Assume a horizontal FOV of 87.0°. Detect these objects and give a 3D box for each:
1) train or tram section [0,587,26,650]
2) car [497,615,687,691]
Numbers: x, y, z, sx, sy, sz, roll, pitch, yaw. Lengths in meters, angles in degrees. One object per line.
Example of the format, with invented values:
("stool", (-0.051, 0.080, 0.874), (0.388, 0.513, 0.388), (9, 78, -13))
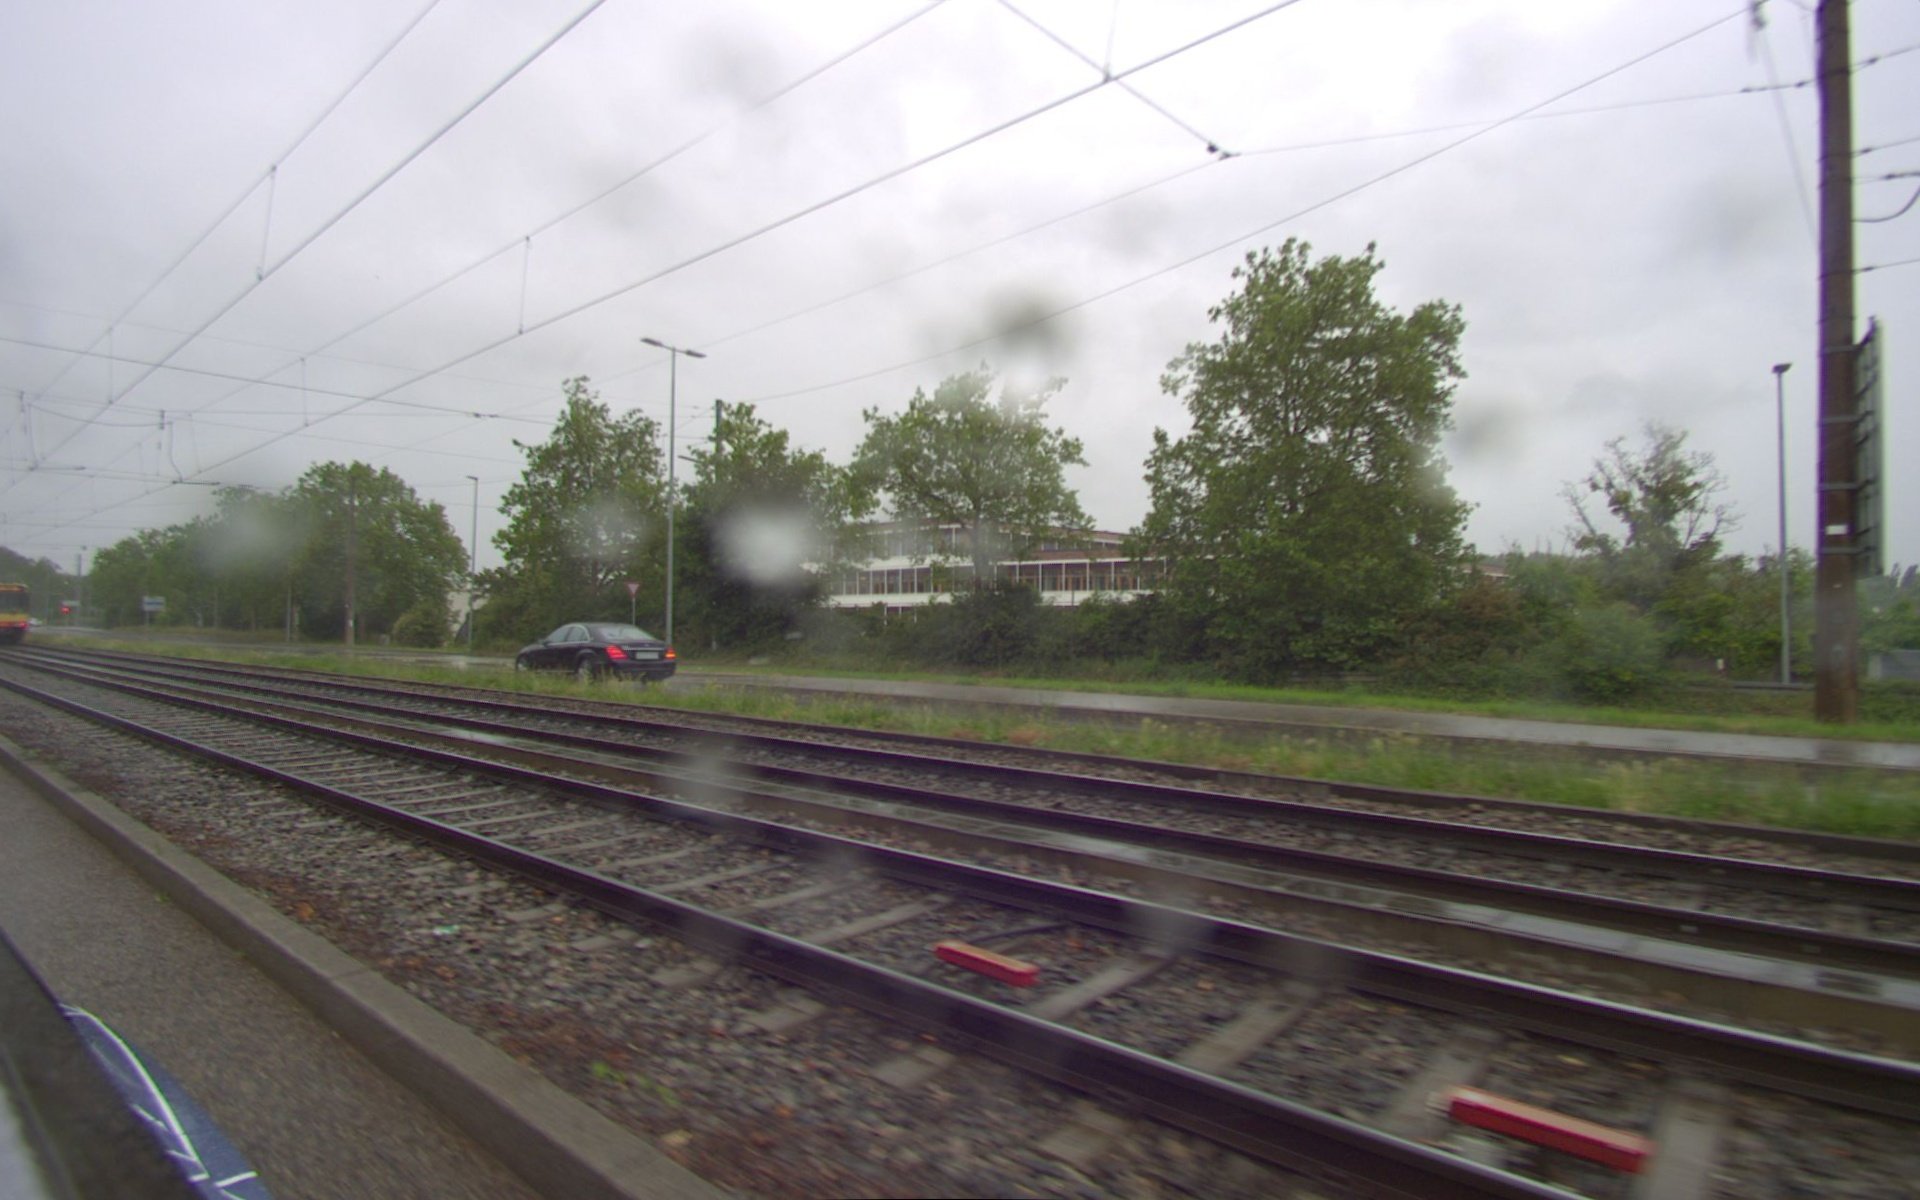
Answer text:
("train or tram section", (-60.888, 1.131, 63.002), (15.100, 3.651, 2.428), (-1, 0, 41))
("car", (-8.650, 1.147, 23.586), (4.953, 1.534, 1.973), (-1, 0, 40))
